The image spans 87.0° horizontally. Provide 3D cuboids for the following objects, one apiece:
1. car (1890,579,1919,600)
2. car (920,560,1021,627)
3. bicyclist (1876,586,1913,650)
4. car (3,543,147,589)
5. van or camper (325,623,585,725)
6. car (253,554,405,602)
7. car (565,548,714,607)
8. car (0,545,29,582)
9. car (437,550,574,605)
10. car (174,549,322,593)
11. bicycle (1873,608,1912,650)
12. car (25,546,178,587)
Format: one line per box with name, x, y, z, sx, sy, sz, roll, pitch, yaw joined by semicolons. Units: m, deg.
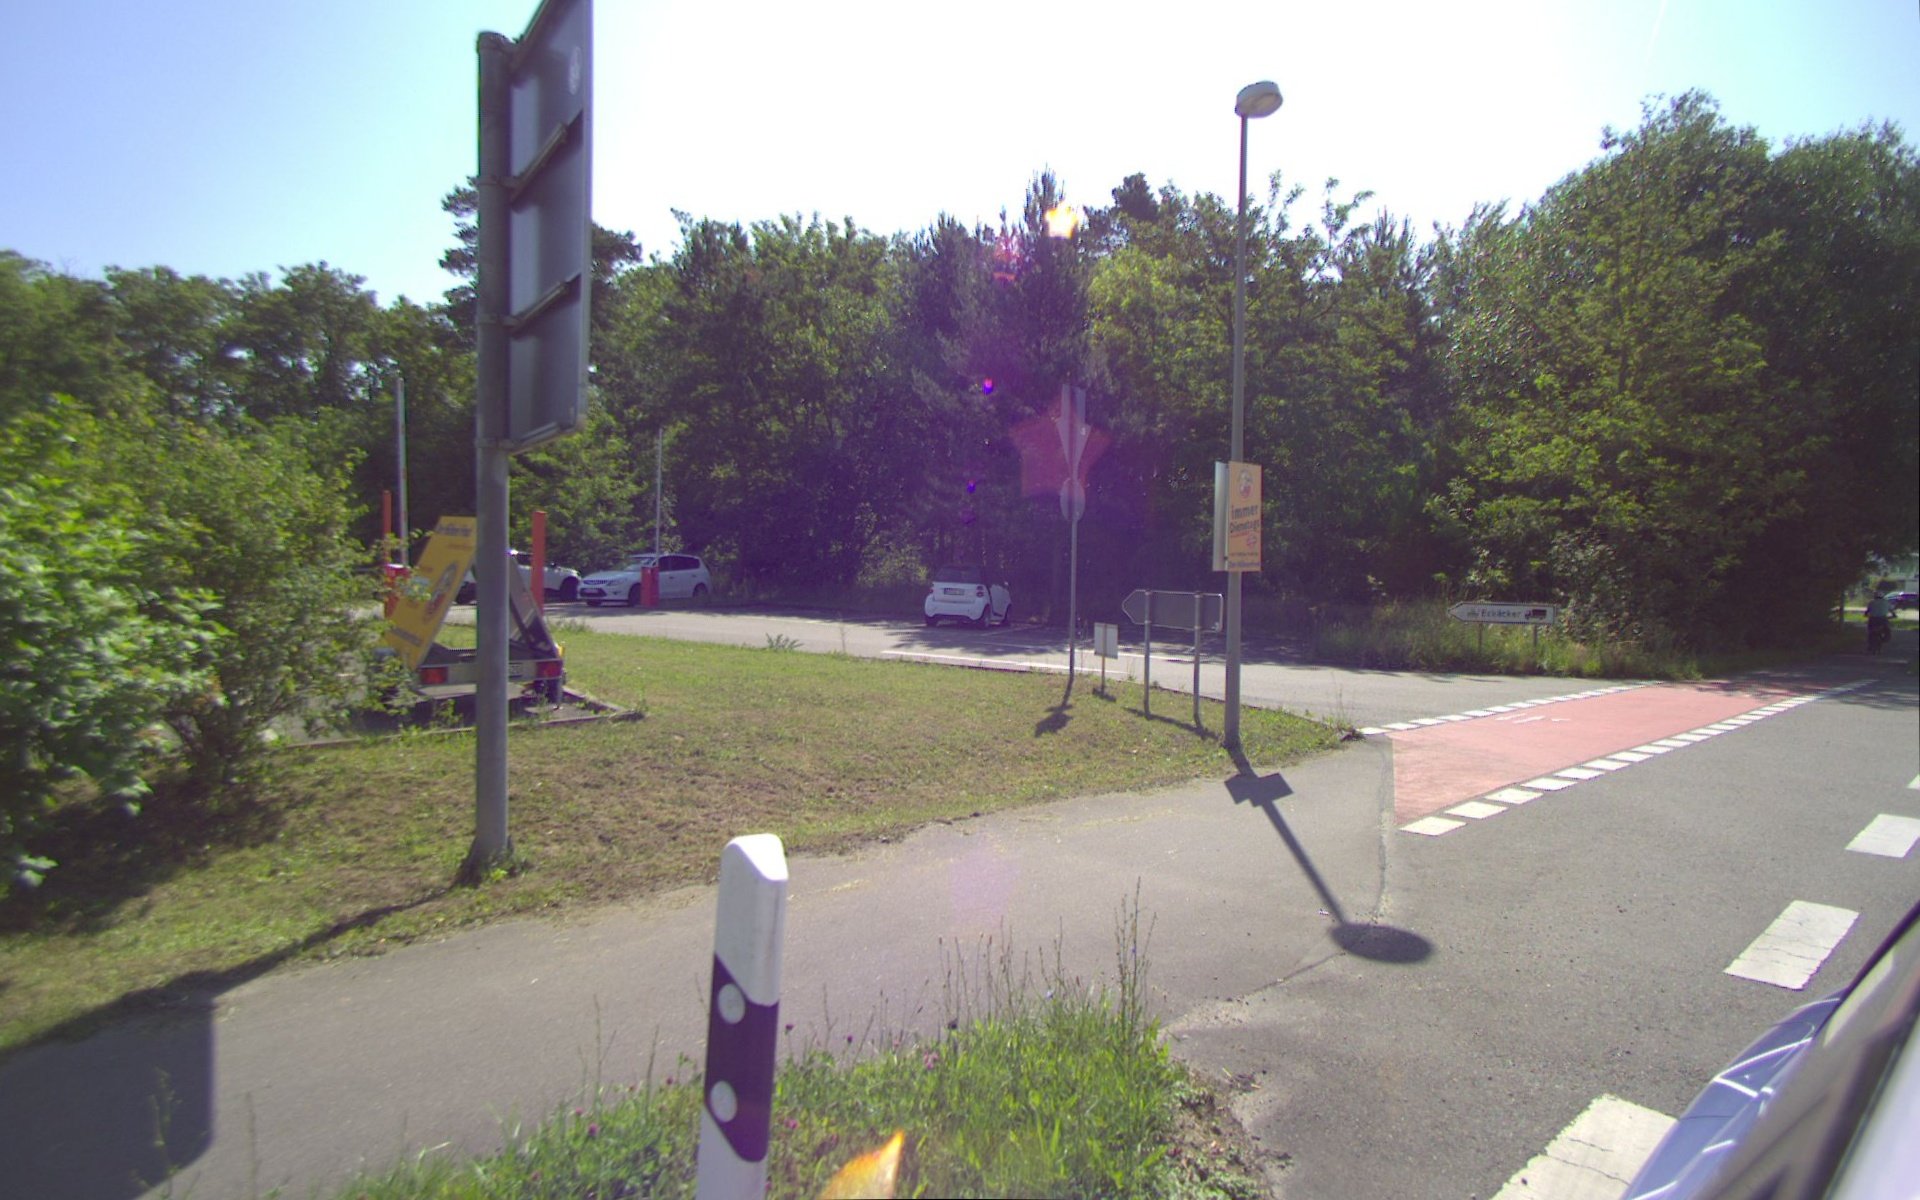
car;78.058;-0.825;82.742;1.810;1.660;3.805;2;2;25
car;0.310;-0.201;25.233;1.579;1.538;2.820;2;2;22
bicyclist;26.348;0.495;28.536;0.961;1.752;0.638;0;0;-39
car;-35.956;-1.376;41.224;2.049;1.732;3.968;2;2;24
van or camper;-5.277;0.667;10.401;1.782;0.621;3.101;1;3;-39
car;-21.401;-0.753;34.471;2.049;1.504;3.968;2;2;24
car;-9.109;-0.672;29.158;1.740;1.549;4.341;2;2;23
car;-43.111;-1.578;43.523;1.775;1.615;4.229;2;2;22
car;-13.813;-0.689;30.948;1.740;1.549;3.637;2;2;23
car;-25.881;-1.064;36.923;2.049;1.504;3.968;2;2;24
bicycle;26.166;0.792;28.393;1.493;1.138;0.591;0;0;-39
car;-33.579;-1.296;39.741;1.645;1.504;4.338;2;2;24
